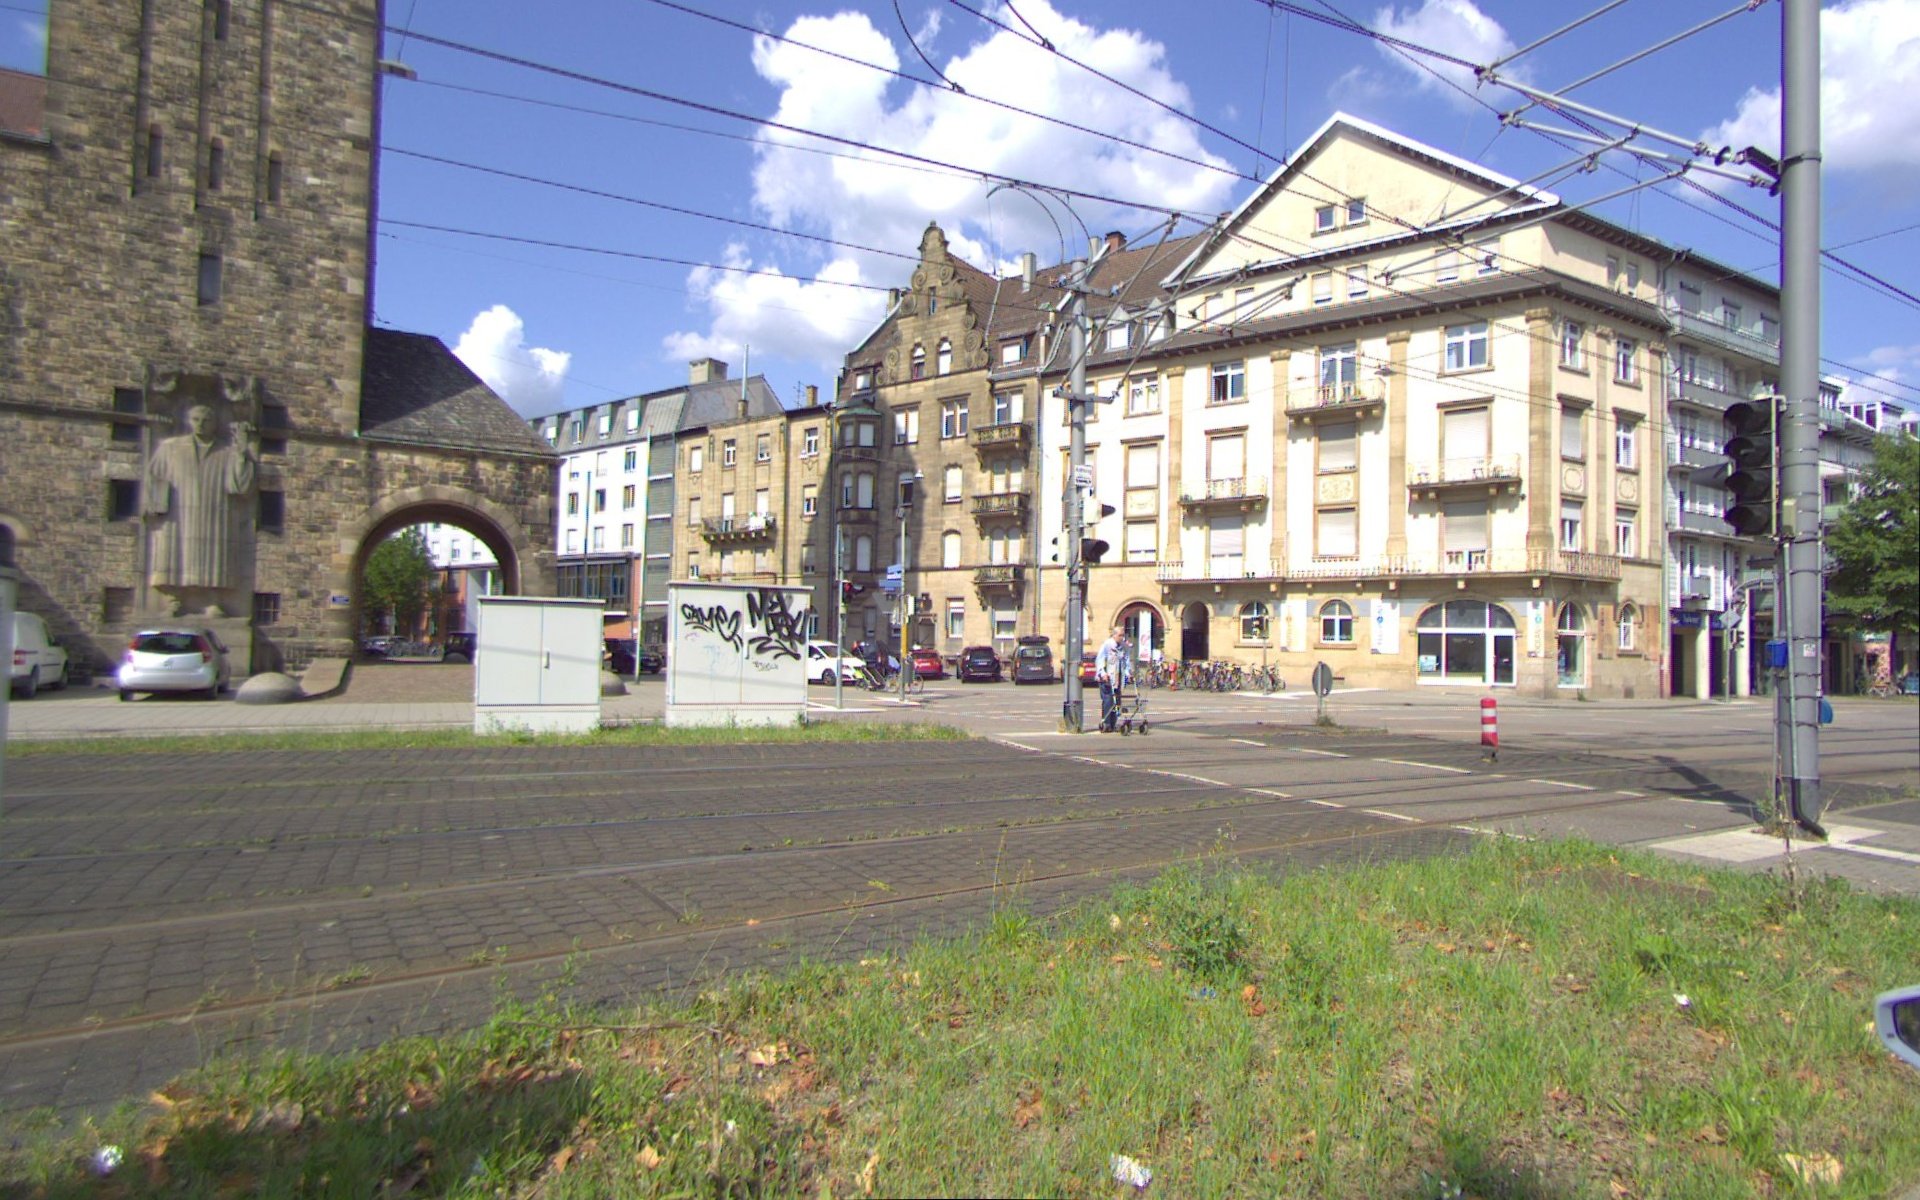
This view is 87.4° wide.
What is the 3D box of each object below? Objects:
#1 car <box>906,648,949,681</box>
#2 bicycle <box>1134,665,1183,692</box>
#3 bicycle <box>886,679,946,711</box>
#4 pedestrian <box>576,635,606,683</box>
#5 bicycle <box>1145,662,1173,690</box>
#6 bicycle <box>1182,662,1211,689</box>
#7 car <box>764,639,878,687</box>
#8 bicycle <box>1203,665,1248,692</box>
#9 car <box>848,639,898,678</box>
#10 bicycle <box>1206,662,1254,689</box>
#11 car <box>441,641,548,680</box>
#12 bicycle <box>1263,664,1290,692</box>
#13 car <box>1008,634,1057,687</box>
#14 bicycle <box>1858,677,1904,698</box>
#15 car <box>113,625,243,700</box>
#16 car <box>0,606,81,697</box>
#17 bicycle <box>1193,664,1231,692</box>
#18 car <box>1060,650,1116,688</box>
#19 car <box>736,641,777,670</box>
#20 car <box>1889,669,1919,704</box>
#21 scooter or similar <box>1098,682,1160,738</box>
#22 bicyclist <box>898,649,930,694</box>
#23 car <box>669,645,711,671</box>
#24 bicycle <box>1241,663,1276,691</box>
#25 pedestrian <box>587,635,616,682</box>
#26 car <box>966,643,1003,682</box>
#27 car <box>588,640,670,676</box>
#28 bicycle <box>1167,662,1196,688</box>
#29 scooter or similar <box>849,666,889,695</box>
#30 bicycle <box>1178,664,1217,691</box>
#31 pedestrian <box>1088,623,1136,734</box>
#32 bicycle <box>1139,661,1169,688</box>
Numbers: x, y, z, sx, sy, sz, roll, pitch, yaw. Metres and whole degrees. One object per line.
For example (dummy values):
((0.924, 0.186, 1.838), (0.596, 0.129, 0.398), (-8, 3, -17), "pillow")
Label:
((-1.650, 3.179, 50.025), (1.880, 1.463, 3.997), (0, -1, -5), "car")
((8.067, 3.185, 40.871), (1.890, 1.032, 0.540), (0, 0, 20), "bicycle")
((-1.547, 3.308, 35.024), (2.097, 1.002, 0.651), (0, -3, 32), "bicycle")
((-11.437, 1.825, 31.124), (0.507, 1.425, 0.559), (7, 1, 14), "pedestrian")
((8.412, 3.193, 42.469), (0.531, 1.032, 1.924), (0, -1, 31), "bicycle")
((10.079, 3.209, 42.757), (0.531, 1.032, 1.922), (-1, -1, 35), "bicycle")
((-5.663, 2.519, 40.685), (4.587, 1.762, 1.809), (-1, -3, 35), "car")
((10.705, 3.153, 40.472), (1.853, 1.032, 0.598), (1, -1, -28), "bicycle")
((-4.479, 2.981, 52.036), (1.878, 1.849, 4.002), (0, -1, 5), "car")
((11.394, 3.171, 42.436), (1.899, 1.032, 0.538), (-1, -1, 40), "bicycle")
((-21.437, 2.763, 46.359), (3.892, 1.673, 2.034), (1, -3, 3), "car")
((12.792, 3.139, 40.539), (0.599, 1.032, 1.872), (0, -1, 32), "bicycle")
((3.304, 2.736, 46.424), (1.929, 2.111, 3.999), (0, 2, 0), "car")
((48.145, 4.566, 52.508), (0.492, 0.999, 1.680), (3, -3, -31), "bicycle")
((-17.849, 1.403, 23.102), (1.777, 1.567, 3.749), (3, -3, -30), "car")
((-20.973, 1.091, 21.980), (1.843, 1.847, 3.982), (3, -3, -31), "car")
((10.324, 3.181, 41.152), (1.913, 1.032, 0.534), (1, -1, -41), "bicycle")
((5.604, 3.020, 44.352), (1.929, 1.460, 4.000), (0, -1, 0), "car")
((-11.518, 3.116, 57.093), (1.574, 1.475, 3.776), (0, -1, 0), "car")
((54.333, 4.884, 56.593), (3.954, 1.813, 1.838), (3, -1, -30), "car")
((2.677, 1.732, 15.921), (0.548, 0.814, 0.833), (3, -3, -33), "scooter or similar")
((-1.617, 2.504, 35.356), (0.906, 1.524, 0.650), (0, 1, 32), "bicyclist")
((-16.229, 3.450, 60.556), (1.574, 1.415, 3.573), (0, -1, 0), "car")
((12.211, 3.151, 41.057), (0.602, 1.032, 1.865), (-1, -1, 44), "bicycle")
((-11.293, 1.834, 31.678), (0.507, 1.425, 0.559), (7, 1, 14), "pedestrian")
((1.133, 2.942, 47.906), (1.677, 1.690, 4.000), (0, -1, 0), "car")
((-16.066, 2.806, 48.675), (4.005, 1.617, 1.698), (-1, -3, 35), "car")
((9.514, 3.208, 43.137), (0.531, 1.032, 1.922), (-1, -1, 35), "bicycle")
((-3.262, 2.870, 36.054), (1.111, 0.989, 0.889), (0, -3, 32), "scooter or similar")
((9.796, 3.185, 41.425), (1.913, 1.032, 0.534), (0, -1, -41), "bicycle")
((2.464, 1.261, 16.286), (0.552, 1.755, 0.523), (3, -3, -34), "pedestrian")
((8.430, 3.208, 43.556), (0.531, 1.032, 1.922), (-1, -1, 35), "bicycle")
